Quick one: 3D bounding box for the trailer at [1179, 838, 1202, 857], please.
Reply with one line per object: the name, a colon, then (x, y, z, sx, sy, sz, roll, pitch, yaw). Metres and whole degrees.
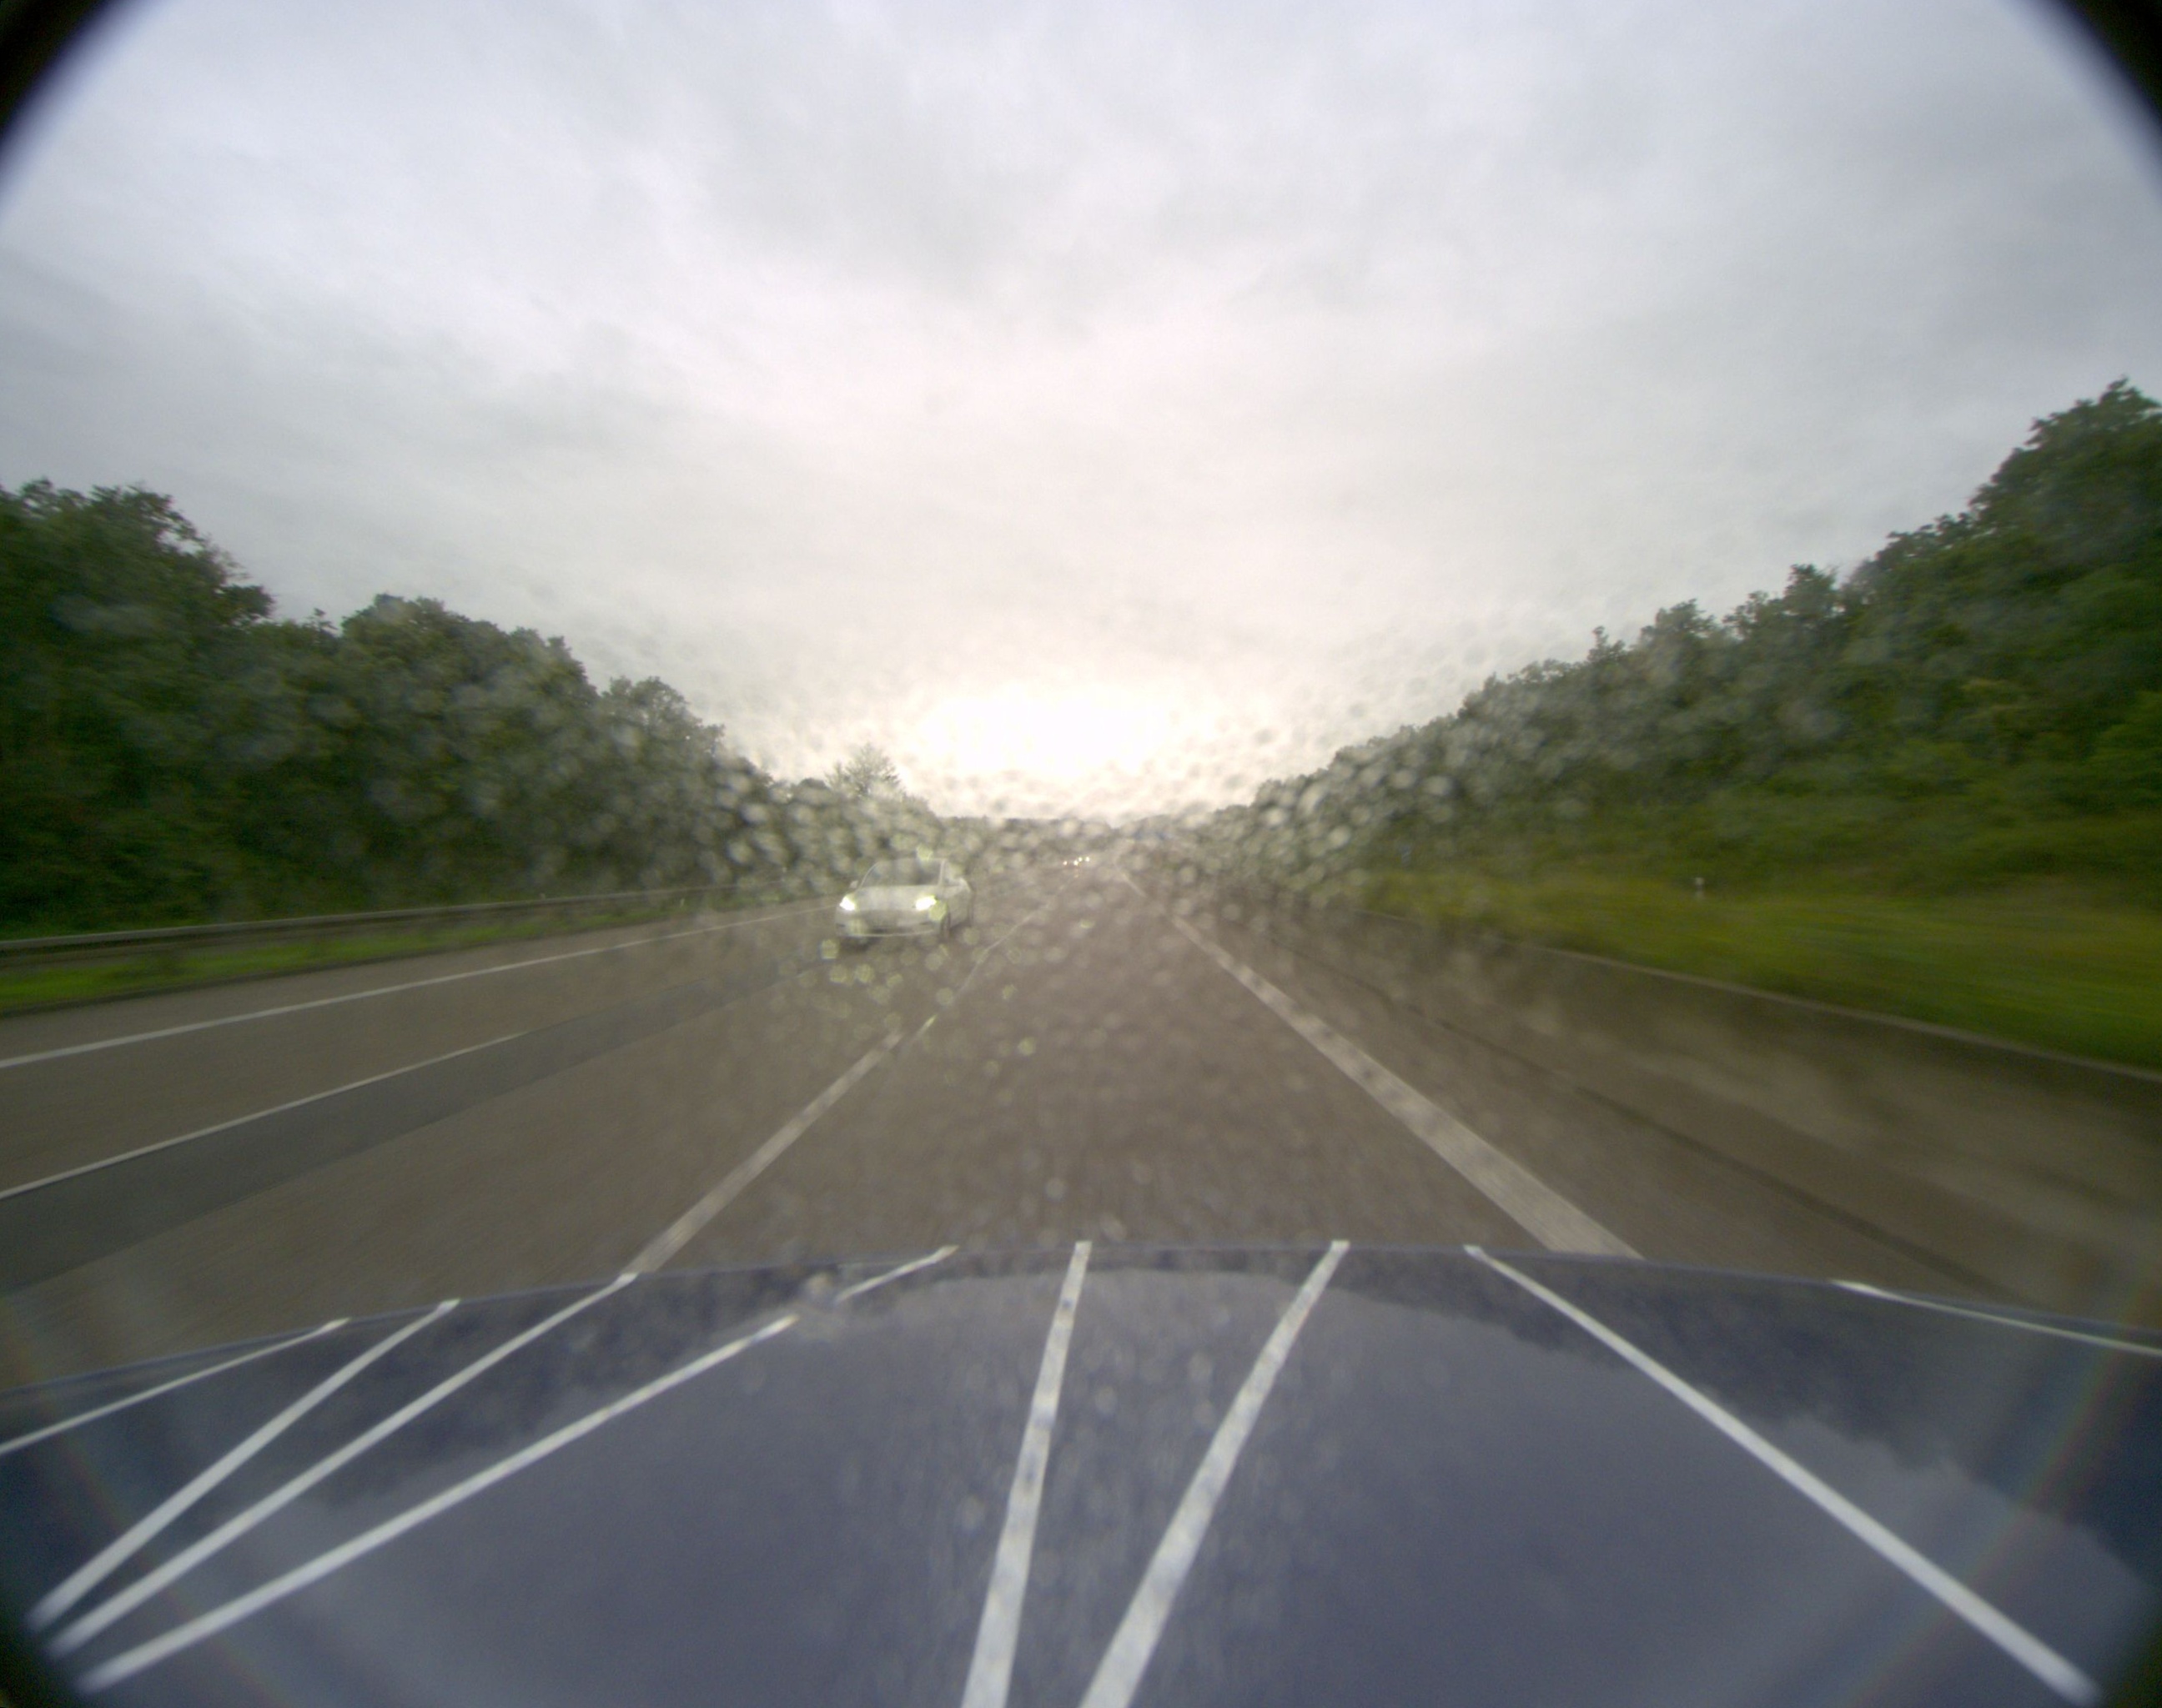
trailer: (21.099, -1.267, 147.086, 2.995, 3.465, 13.256, 0, 1, 2)

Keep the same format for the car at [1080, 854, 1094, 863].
car: (1.146, 0.853, 141.533, 2.008, 1.456, 4.001, 1, 2, 8)

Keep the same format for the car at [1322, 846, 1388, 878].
car: (13.815, 0.375, 38.537, 1.998, 1.499, 4.000, -1, 0, 1)

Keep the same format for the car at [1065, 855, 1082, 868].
car: (-0.848, 0.902, 90.414, 1.932, 1.521, 4.297, 0, 0, 0)

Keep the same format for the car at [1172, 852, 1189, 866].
car: (15.072, 0.752, 115.301, 1.998, 2.002, 4.655, 0, 1, 1)

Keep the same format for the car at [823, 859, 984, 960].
car: (-3.290, 0.941, 15.210, 1.865, 1.559, 4.964, -2, 1, 2)

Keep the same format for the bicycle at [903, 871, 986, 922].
bicycle: (-3.228, 1.000, 18.092, 1.757, 1.084, 0.913, -1, 2, 2)
